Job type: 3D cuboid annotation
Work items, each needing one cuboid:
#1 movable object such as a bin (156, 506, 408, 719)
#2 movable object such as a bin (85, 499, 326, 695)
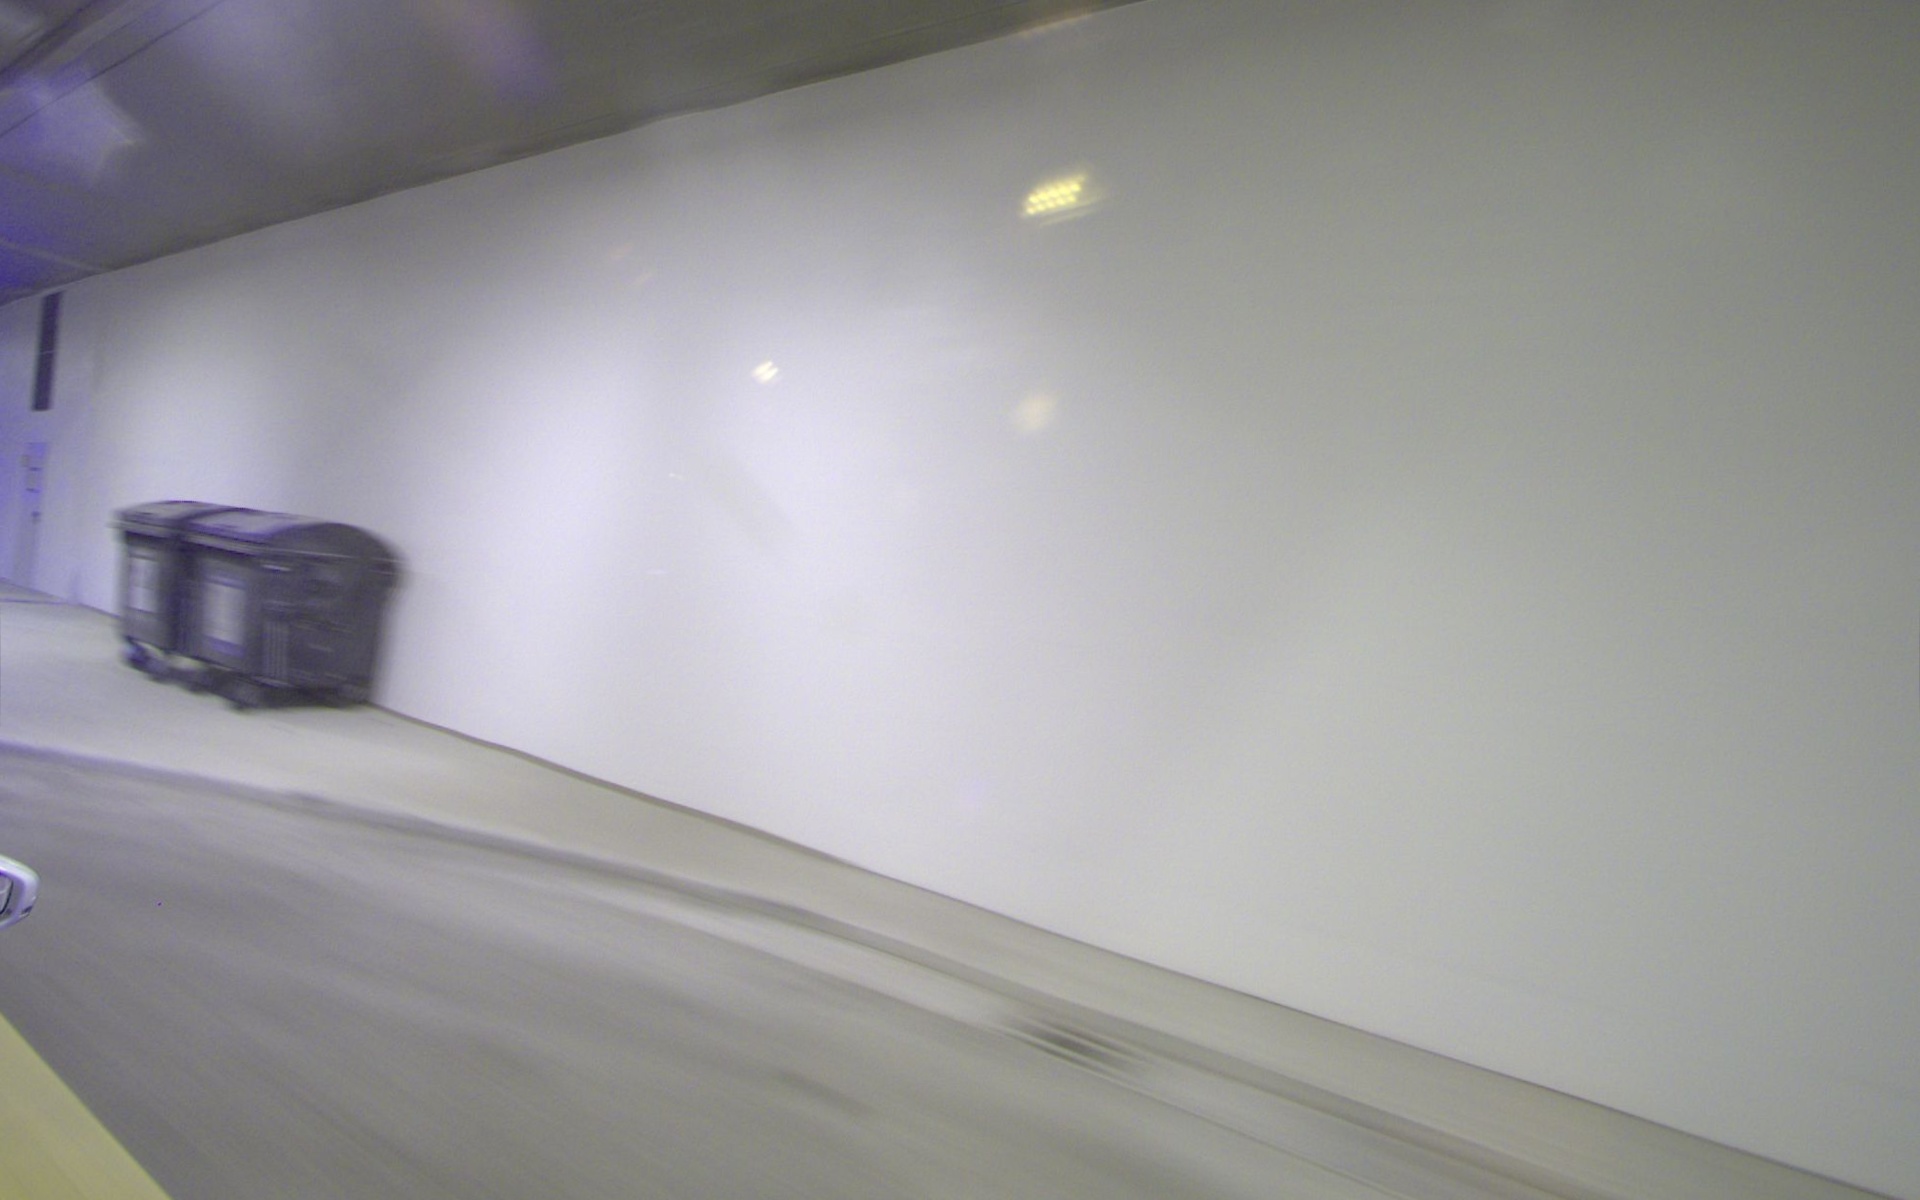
[{"bbox_3d":[-5.292,0.106,7.871,1.301,1.462,1.099,6,-1,34],"label":"movable object such as a bin"},{"bbox_3d":[-6.435,-0.013,8.595,1.342,1.462,1.147,6,-1,34],"label":"movable object such as a bin"}]
